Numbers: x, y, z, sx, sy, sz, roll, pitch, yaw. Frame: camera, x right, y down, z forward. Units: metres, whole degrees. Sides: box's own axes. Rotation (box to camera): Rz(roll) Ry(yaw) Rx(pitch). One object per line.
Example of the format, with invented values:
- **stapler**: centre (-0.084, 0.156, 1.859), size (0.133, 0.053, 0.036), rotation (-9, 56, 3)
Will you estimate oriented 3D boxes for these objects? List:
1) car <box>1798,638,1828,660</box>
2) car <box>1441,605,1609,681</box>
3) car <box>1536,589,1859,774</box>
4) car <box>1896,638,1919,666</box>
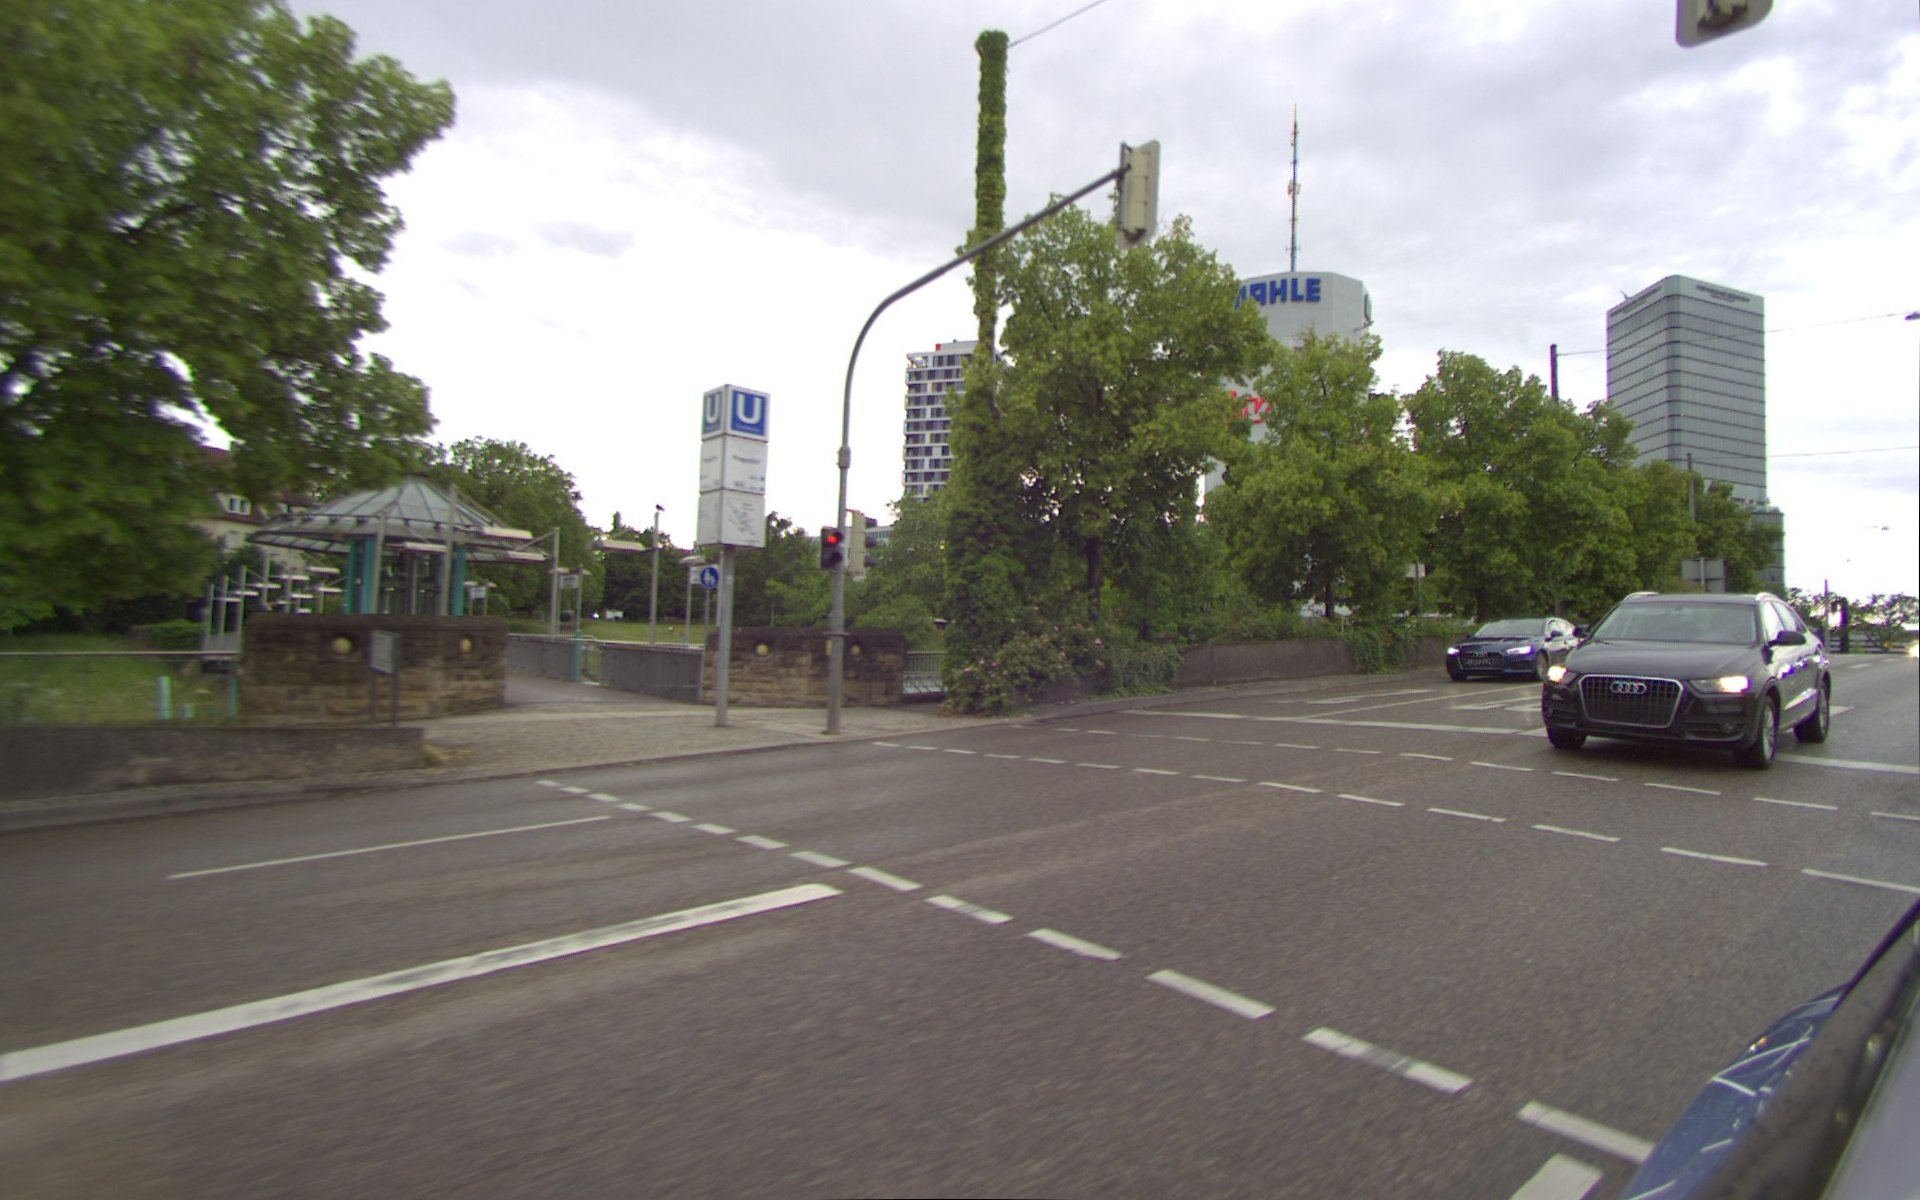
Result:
- **car**: centre (62.758, 3.597, 74.475), size (1.628, 1.495, 3.623), rotation (-1, -4, 39)
- **car**: centre (12.450, 0.870, 22.194), size (4.272, 1.443, 1.874), rotation (-1, 0, -41)
- **car**: centre (7.731, 0.721, 10.478), size (4.052, 1.553, 1.729), rotation (1, -2, -39)
- **car**: centre (64.802, 3.526, 68.603), size (1.795, 1.797, 3.940), rotation (-1, -4, 40)
